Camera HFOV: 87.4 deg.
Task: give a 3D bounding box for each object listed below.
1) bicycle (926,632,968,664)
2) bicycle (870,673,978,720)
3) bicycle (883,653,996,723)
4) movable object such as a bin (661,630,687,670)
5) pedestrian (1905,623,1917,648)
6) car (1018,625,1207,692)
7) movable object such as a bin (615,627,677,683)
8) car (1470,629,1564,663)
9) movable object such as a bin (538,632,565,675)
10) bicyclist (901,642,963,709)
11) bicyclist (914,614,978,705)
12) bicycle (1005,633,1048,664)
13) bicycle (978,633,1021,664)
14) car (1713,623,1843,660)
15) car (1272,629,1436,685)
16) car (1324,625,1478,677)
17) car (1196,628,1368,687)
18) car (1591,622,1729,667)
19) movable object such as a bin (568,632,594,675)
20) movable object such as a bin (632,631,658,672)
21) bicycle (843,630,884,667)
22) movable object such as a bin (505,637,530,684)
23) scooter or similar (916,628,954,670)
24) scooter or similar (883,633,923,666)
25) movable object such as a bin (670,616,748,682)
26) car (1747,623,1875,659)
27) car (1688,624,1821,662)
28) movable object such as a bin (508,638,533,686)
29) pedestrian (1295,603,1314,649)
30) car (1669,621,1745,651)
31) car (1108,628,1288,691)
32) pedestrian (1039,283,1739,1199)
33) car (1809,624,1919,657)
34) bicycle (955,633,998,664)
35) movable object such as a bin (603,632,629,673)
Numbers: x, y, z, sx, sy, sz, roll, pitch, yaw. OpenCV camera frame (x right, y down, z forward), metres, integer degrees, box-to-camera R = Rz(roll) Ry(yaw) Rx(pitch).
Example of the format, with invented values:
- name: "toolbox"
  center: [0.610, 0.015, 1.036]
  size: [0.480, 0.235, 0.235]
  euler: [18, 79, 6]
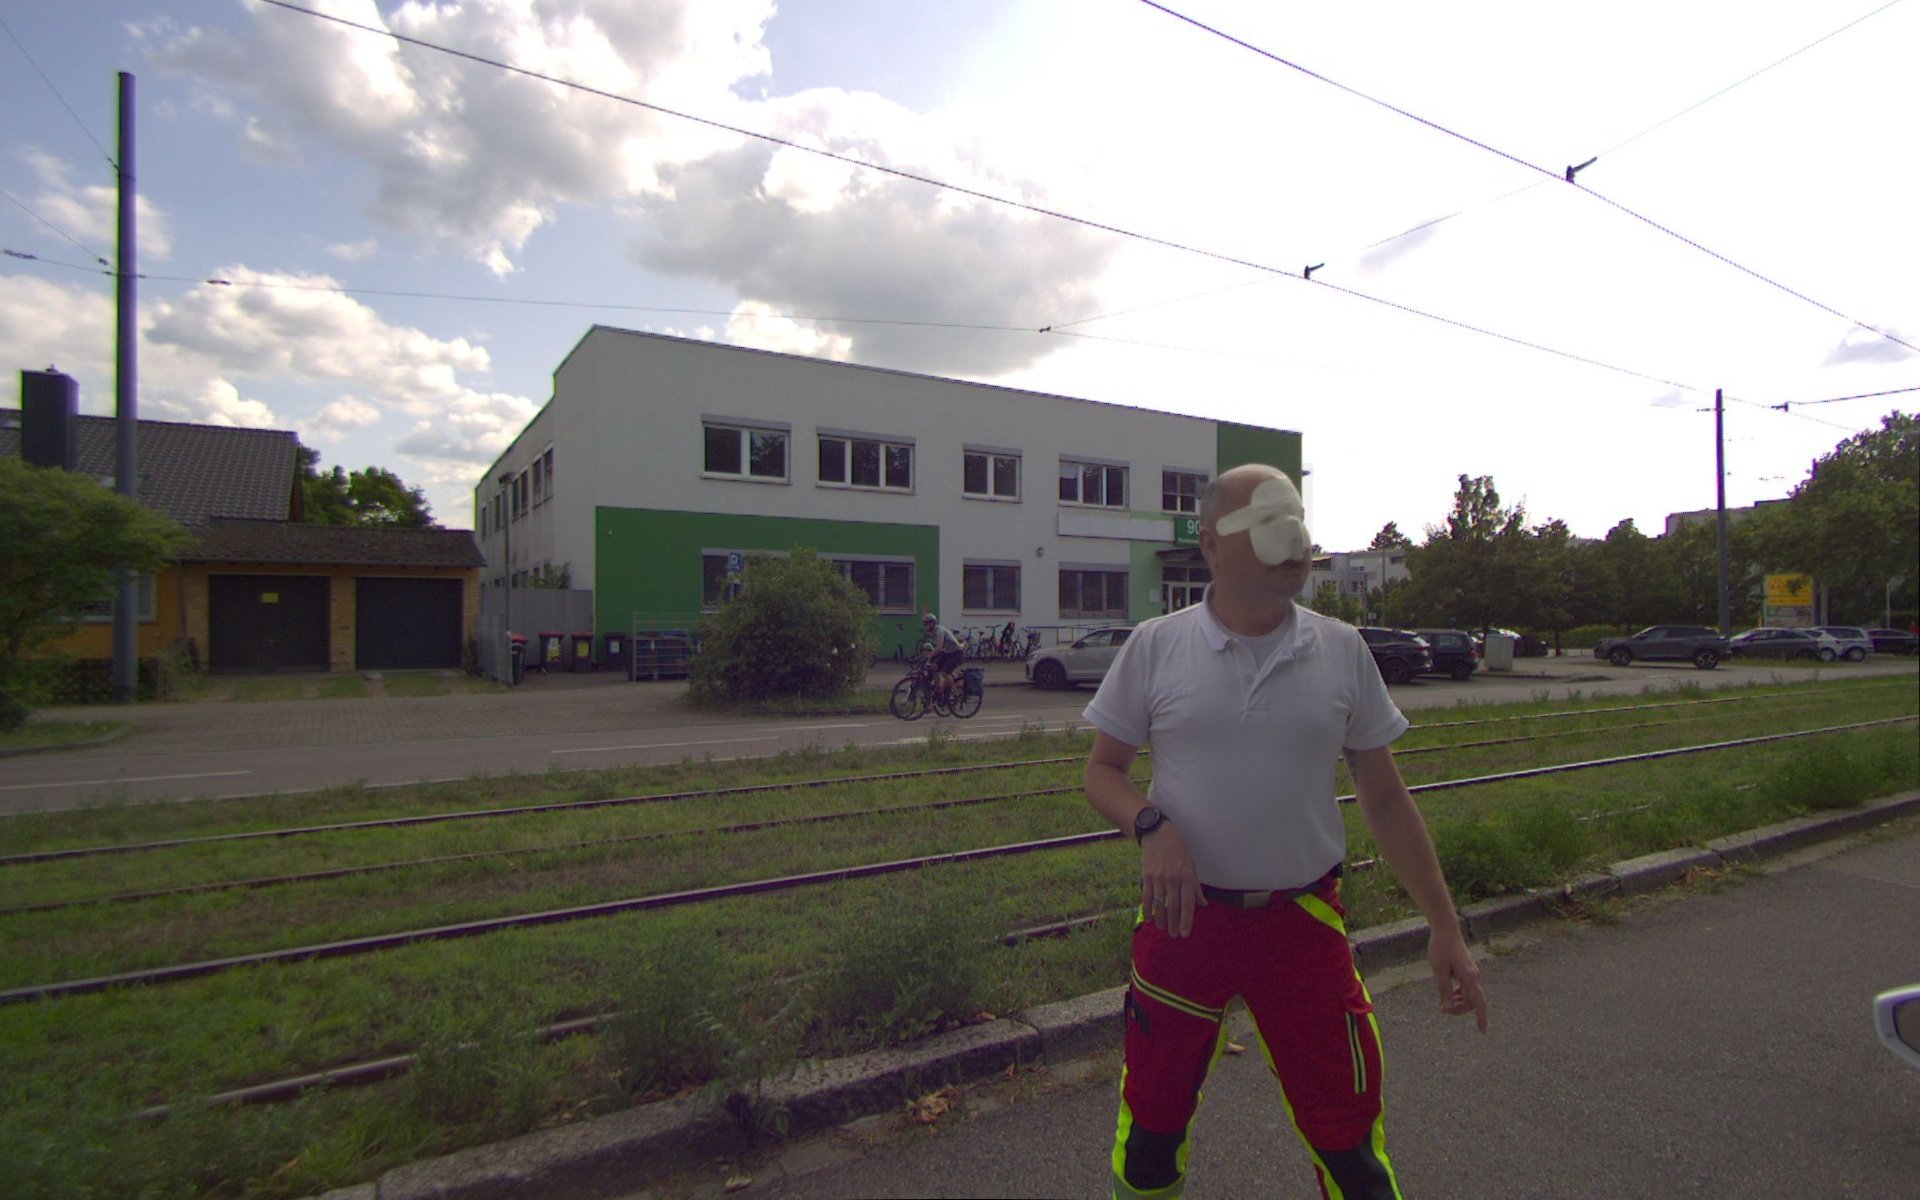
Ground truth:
- name: "bicycle"
  center: [-0.426, 1.513, 31.718]
  size: [0.453, 0.911, 1.848]
  euler: [2, 0, -30]
- name: "bicycle"
  center: [-0.618, 1.662, 17.428]
  size: [1.779, 0.727, 0.644]
  euler: [1, -1, -24]
- name: "bicycle"
  center: [-0.341, 1.446, 16.821]
  size: [1.779, 1.094, 0.644]
  euler: [1, -1, -24]
- name: "movable object such as a bin"
  center: [-7.881, 1.369, 27.651]
  size: [0.558, 1.056, 0.565]
  euler: [0, 1, -31]
- name: "pedestrian"
  center: [63.562, 2.367, 67.145]
  size: [0.597, 1.699, 0.463]
  euler: [1, -1, -33]
- name: "car"
  center: [3.690, 1.376, 24.280]
  size: [4.155, 1.501, 1.882]
  euler: [-1, -2, 25]
- name: "movable object such as a bin"
  center: [-7.547, 1.313, 24.142]
  size: [1.241, 1.251, 1.001]
  euler: [0, 1, -29]
- name: "car"
  center: [29.200, 2.382, 52.771]
  size: [1.755, 1.586, 3.970]
  euler: [2, 0, -28]
- name: "movable object such as a bin"
  center: [-10.565, 1.368, 25.987]
  size: [0.558, 1.056, 0.565]
  euler: [0, 1, -31]
- name: "bicyclist"
  center: [-0.489, 1.300, 17.484]
  size: [0.916, 1.127, 0.638]
  euler: [0, -1, -24]
- name: "bicyclist"
  center: [-0.238, 0.979, 16.877]
  size: [0.916, 1.477, 0.621]
  euler: [0, -1, -24]
- name: "bicycle"
  center: [2.191, 1.593, 33.315]
  size: [0.453, 0.911, 1.848]
  euler: [2, 0, -30]
- name: "bicycle"
  center: [1.281, 1.571, 32.803]
  size: [0.453, 0.911, 1.848]
  euler: [2, 0, -30]
- name: "car"
  center: [36.738, 1.831, 45.257]
  size: [4.154, 1.501, 1.882]
  euler: [1, -1, 23]
- name: "car"
  center: [11.300, 1.593, 28.841]
  size: [4.160, 1.501, 1.880]
  euler: [-1, -2, 30]
- name: "car"
  center: [13.567, 1.545, 30.945]
  size: [4.160, 1.501, 1.880]
  euler: [-1, -2, 30]
- name: "car"
  center: [8.741, 1.512, 27.334]
  size: [4.160, 1.501, 1.880]
  euler: [-1, -2, 30]
- name: "car"
  center: [26.203, 1.640, 37.756]
  size: [4.164, 1.501, 1.878]
  euler: [1, -1, 34]
- name: "movable object such as a bin"
  center: [-9.957, 1.397, 26.388]
  size: [0.558, 1.056, 0.565]
  euler: [0, 1, -31]
- name: "movable object such as a bin"
  center: [-8.543, 1.388, 27.259]
  size: [0.558, 1.056, 0.565]
  euler: [0, 1, -31]
- name: "bicycle"
  center: [-2.906, 1.428, 30.050]
  size: [0.453, 0.999, 1.848]
  euler: [2, 0, -30]
- name: "movable object such as a bin"
  center: [-10.408, 1.410, 23.624]
  size: [0.474, 1.056, 0.491]
  euler: [0, 1, -31]
- name: "scooter or similar"
  center: [-0.742, 1.431, 29.653]
  size: [1.073, 1.171, 1.306]
  euler: [2, 0, -2]
- name: "scooter or similar"
  center: [-1.772, 1.525, 31.028]
  size: [0.453, 0.911, 1.726]
  euler: [2, 0, -30]
- name: "movable object such as a bin"
  center: [-6.233, 1.182, 24.903]
  size: [1.691, 1.540, 1.001]
  euler: [0, 1, -29]
- name: "car"
  center: [39.399, 1.885, 46.640]
  size: [4.154, 1.501, 1.882]
  euler: [1, -1, 23]
- name: "car"
  center: [34.388, 1.839, 43.602]
  size: [4.154, 1.501, 1.882]
  euler: [1, -1, 23]
- name: "movable object such as a bin"
  center: [-10.128, 1.416, 23.142]
  size: [0.476, 1.056, 0.502]
  euler: [0, 1, -31]
- name: "pedestrian"
  center: [14.094, 1.068, 41.122]
  size: [0.503, 1.852, 0.543]
  euler: [1, -1, -33]
- name: "car"
  center: [48.526, 2.300, 65.362]
  size: [1.960, 1.773, 4.000]
  euler: [1, 0, 0]
- name: "car"
  center: [6.131, 1.478, 25.936]
  size: [4.160, 1.501, 1.880]
  euler: [-1, -2, 30]
- name: "pedestrian"
  center: [0.665, 0.461, 1.795]
  size: [0.793, 1.709, 0.848]
  euler: [1, 0, -16]
- name: "car"
  center: [46.187, 2.047, 51.093]
  size: [4.151, 1.501, 1.883]
  euler: [1, -1, 19]
- name: "bicycle"
  center: [0.521, 1.545, 32.339]
  size: [0.453, 0.911, 1.848]
  euler: [2, 0, -30]
- name: "movable object such as a bin"
  center: [-9.202, 1.406, 26.886]
  size: [0.558, 1.056, 0.565]
  euler: [0, 1, -31]
